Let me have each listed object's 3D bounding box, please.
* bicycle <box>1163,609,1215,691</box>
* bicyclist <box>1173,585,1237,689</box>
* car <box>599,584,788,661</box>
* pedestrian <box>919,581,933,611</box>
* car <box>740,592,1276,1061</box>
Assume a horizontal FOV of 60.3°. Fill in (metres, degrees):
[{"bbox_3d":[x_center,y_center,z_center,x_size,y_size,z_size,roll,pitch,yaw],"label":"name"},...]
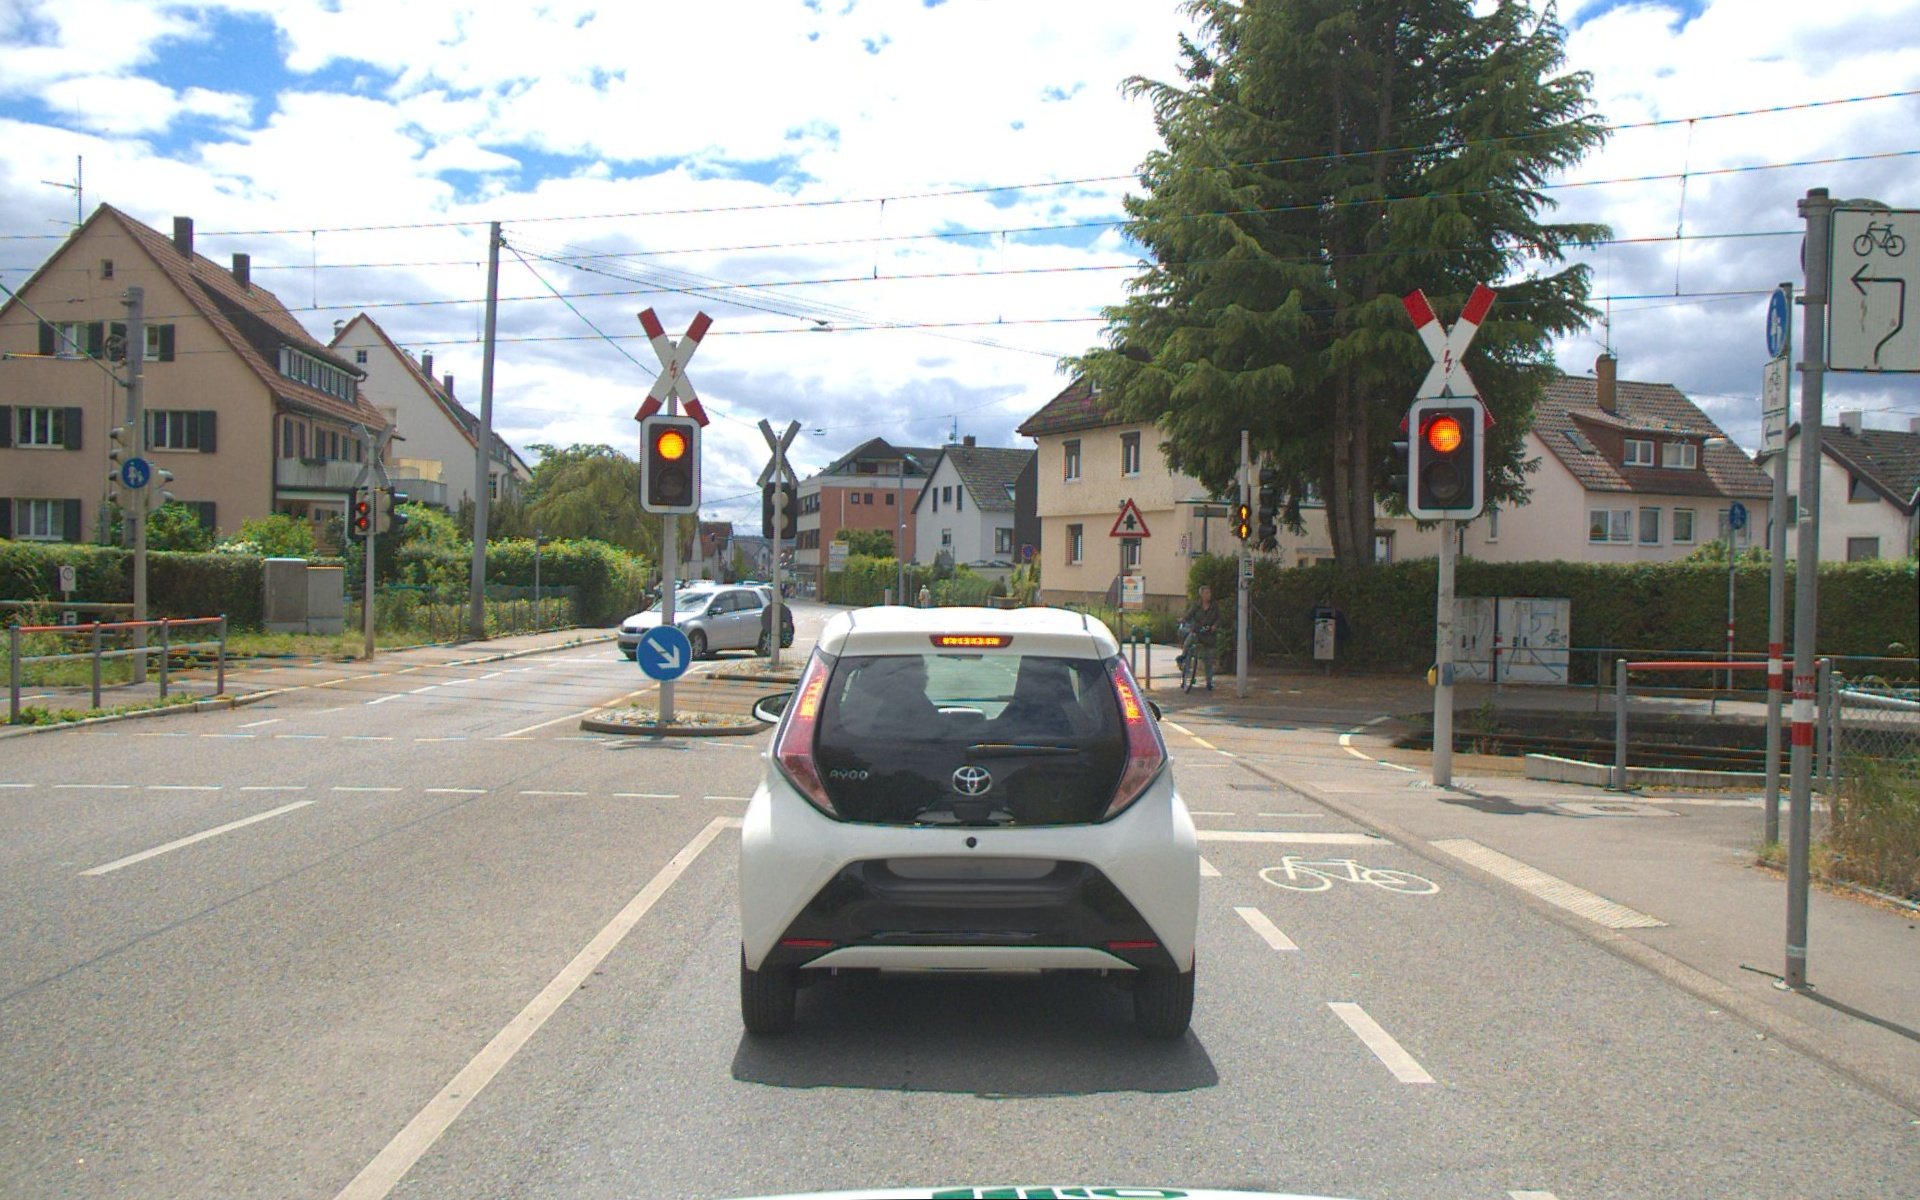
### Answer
[{"bbox_3d":[3.701,0.793,26.808,0.448,1.192,1.477,-2,3,-6],"label":"bicycle"},{"bbox_3d":[3.945,0.585,26.675,0.825,1.580,0.755,-2,3,-7],"label":"bicyclist"},{"bbox_3d":[-5.546,0.464,34.910,1.868,1.466,4.093,2,0,27],"label":"car"},{"bbox_3d":[-1.867,-0.216,91.066,0.711,1.604,0.803,2,0,-1],"label":"pedestrian"},{"bbox_3d":[0.033,0.729,7.155,1.687,1.467,3.705,2,0,-4],"label":"car"}]
